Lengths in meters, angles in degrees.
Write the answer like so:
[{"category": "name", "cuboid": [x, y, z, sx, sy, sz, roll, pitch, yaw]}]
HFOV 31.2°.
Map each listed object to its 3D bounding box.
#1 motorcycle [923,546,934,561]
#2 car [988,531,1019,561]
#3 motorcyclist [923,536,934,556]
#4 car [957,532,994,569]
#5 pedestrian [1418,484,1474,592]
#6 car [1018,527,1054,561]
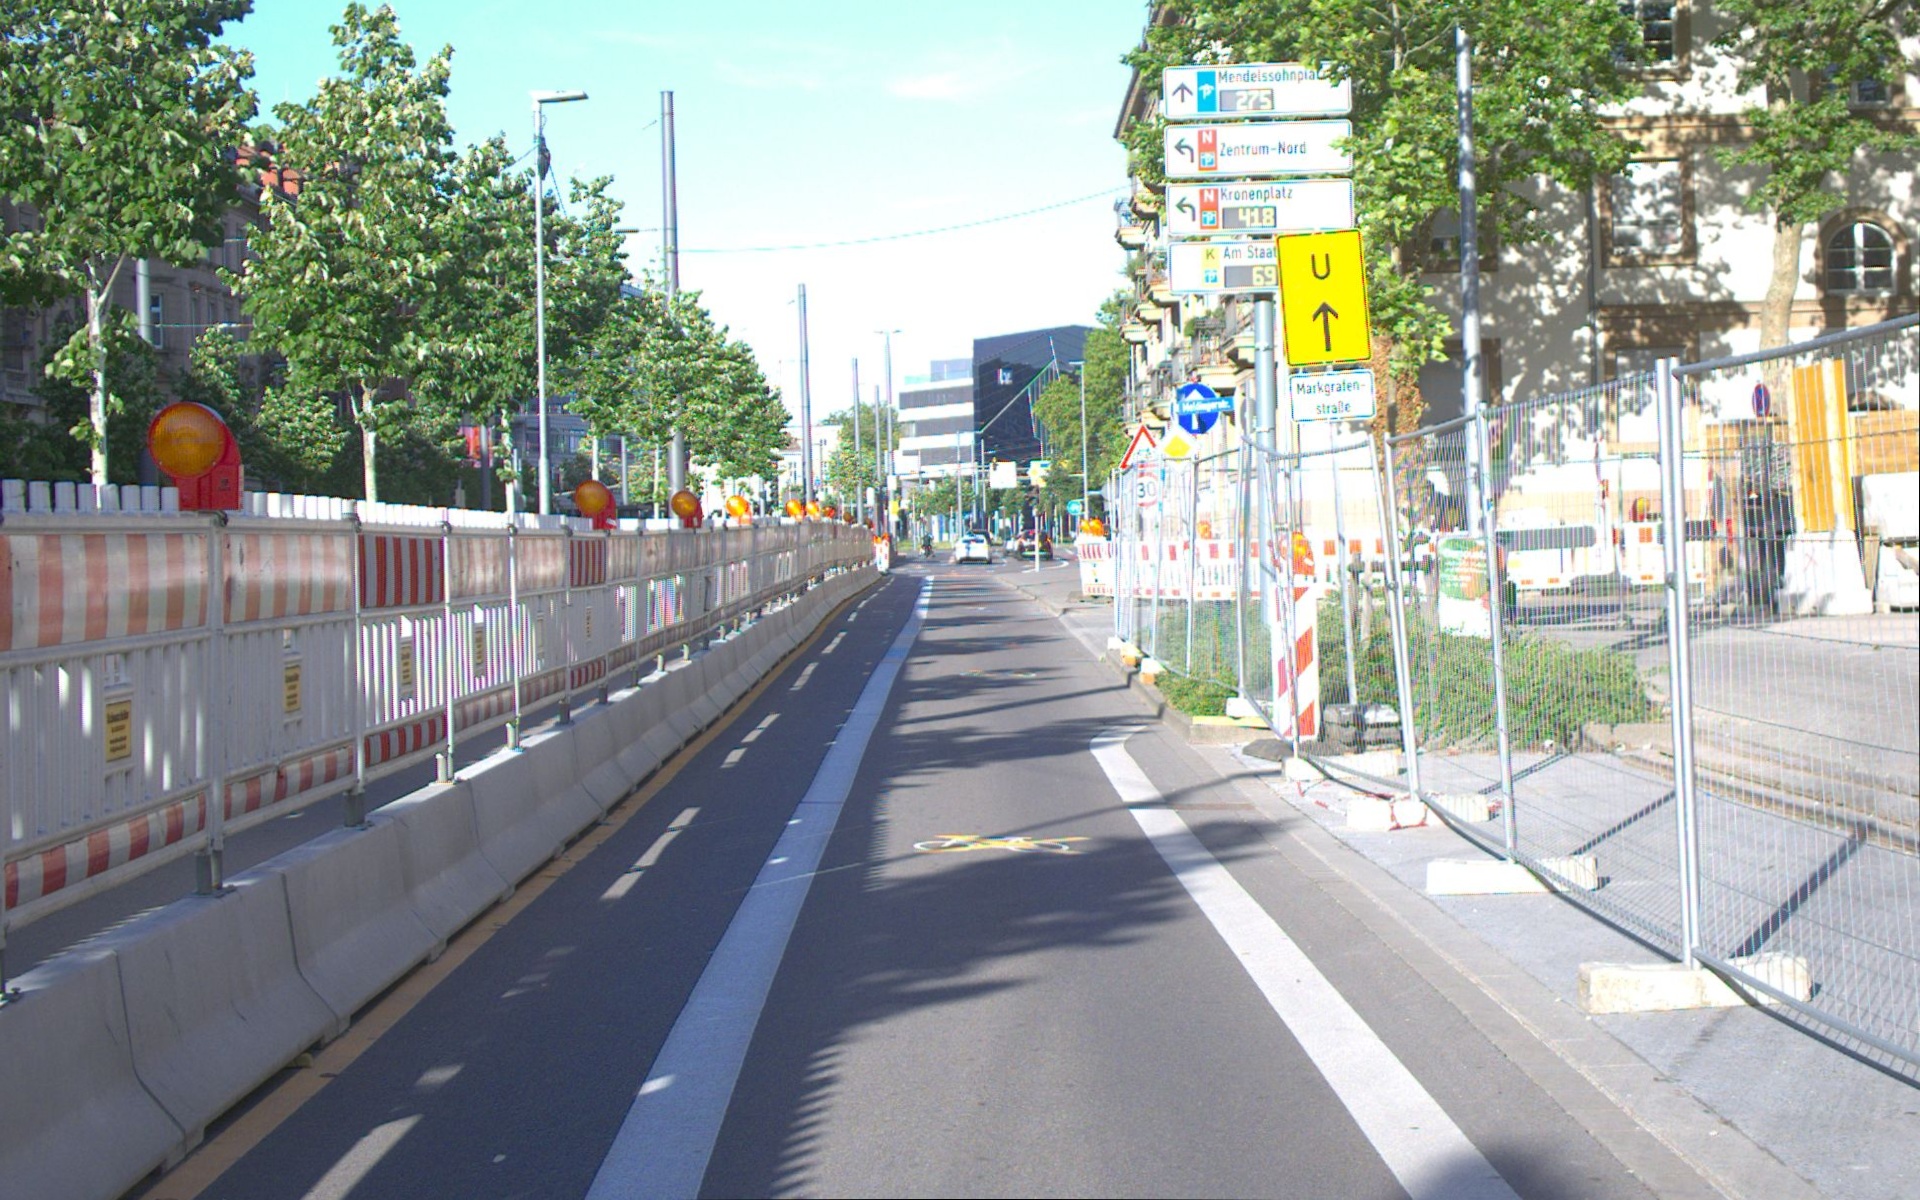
[{"category": "motorcycle", "cuboid": [-1.986, -2.945, 216.265, 0.631, 0.893, 1.621, -2, 2, 0]}, {"category": "car", "cuboid": [2.790, -3.507, 221.438, 1.883, 1.836, 3.668, -2, 2, 0]}, {"category": "motorcyclist", "cuboid": [-2.002, -3.415, 216.335, 0.631, 1.258, 0.606, -2, 1, 0]}, {"category": "car", "cuboid": [0.786, -2.620, 180.851, 1.883, 1.836, 3.668, -2, 2, 0]}, {"category": "pedestrian", "cuboid": [7.950, -1.018, 56.269, 0.775, 1.740, 0.671, -2, 1, 0]}, {"category": "car", "cuboid": [4.300, -3.185, 194.040, 1.883, 1.836, 3.668, -2, 2, 0]}]
